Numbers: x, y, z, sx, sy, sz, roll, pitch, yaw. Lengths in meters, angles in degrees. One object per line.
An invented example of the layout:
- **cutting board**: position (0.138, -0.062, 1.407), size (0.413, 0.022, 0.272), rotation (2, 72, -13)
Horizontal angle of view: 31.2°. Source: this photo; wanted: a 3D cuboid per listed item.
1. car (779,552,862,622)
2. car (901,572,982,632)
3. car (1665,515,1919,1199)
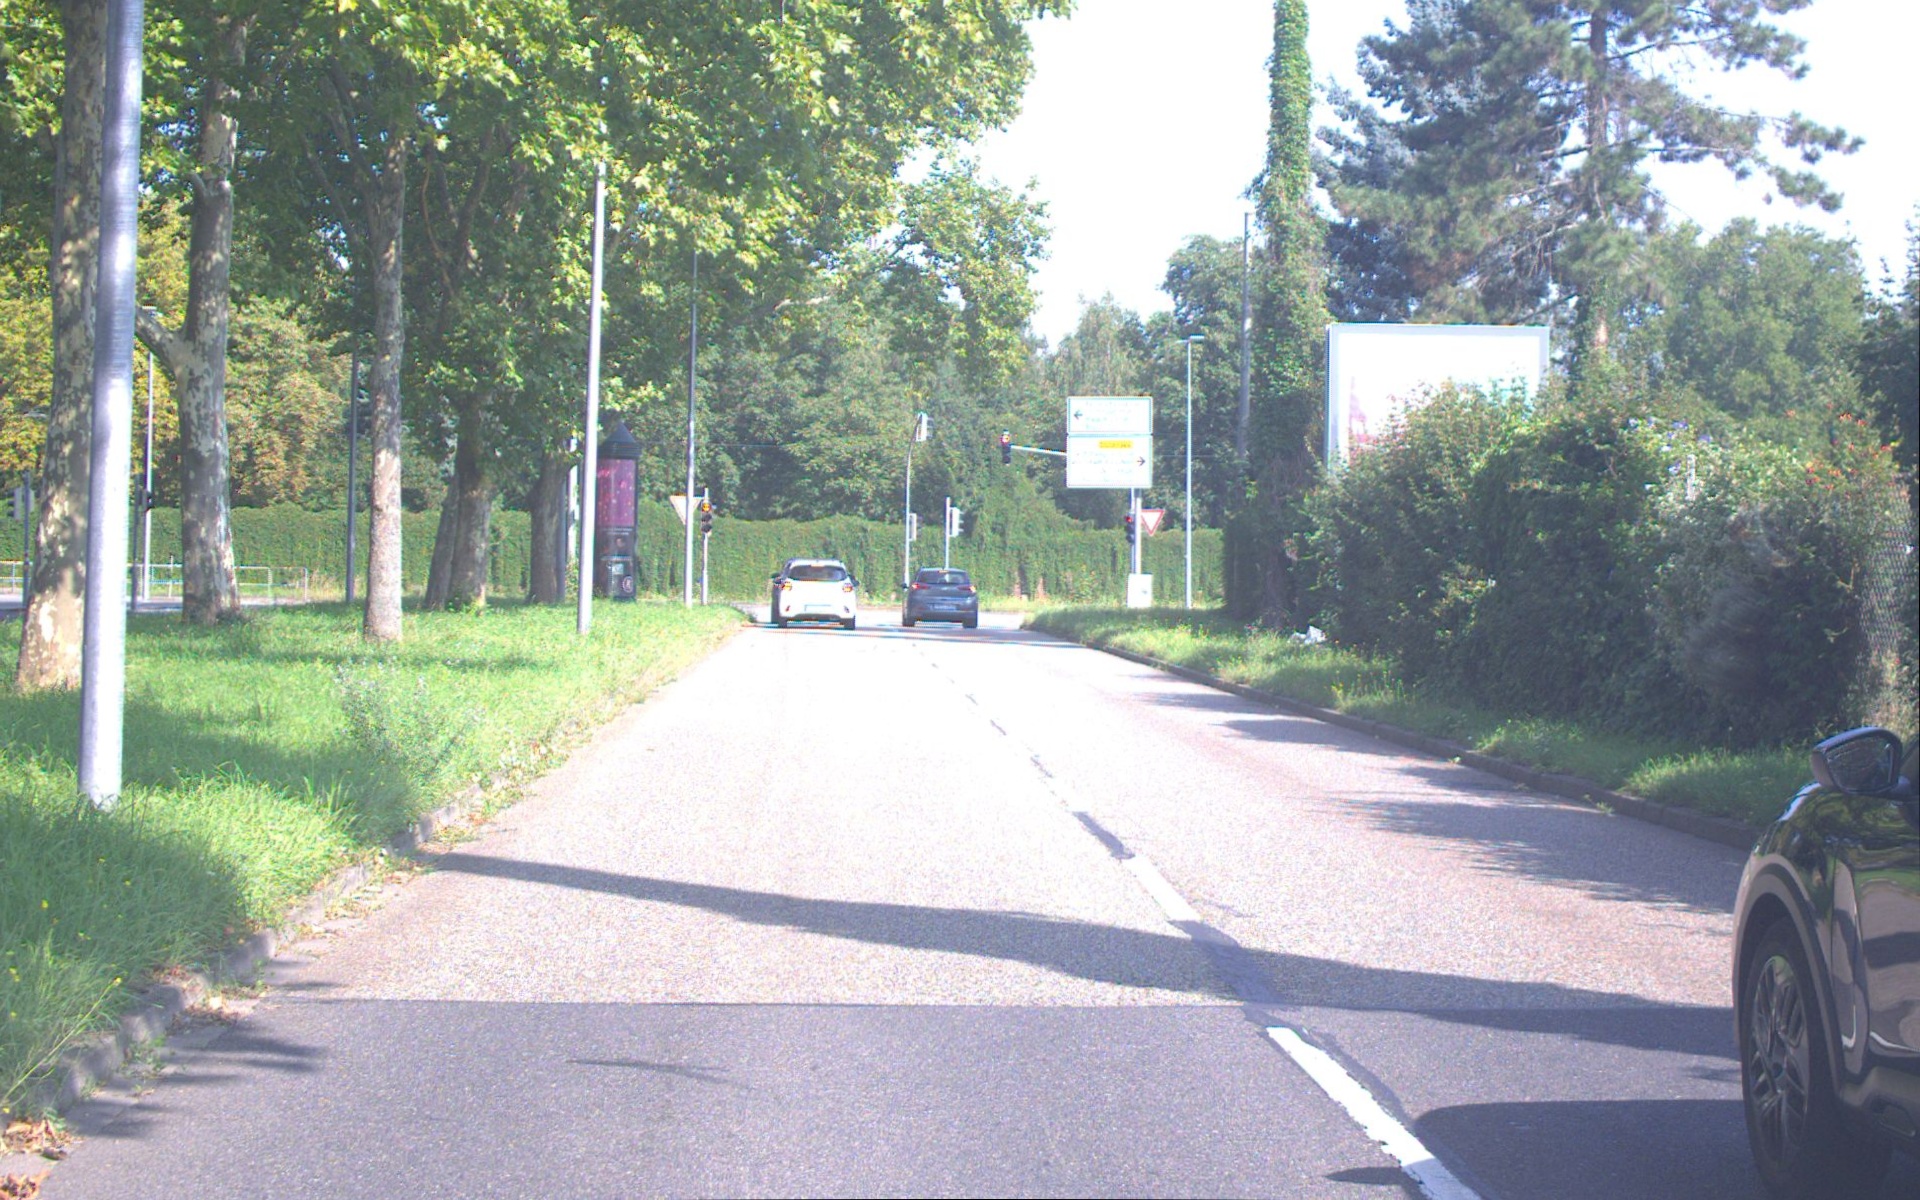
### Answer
- **car**: position (-3.049, -0.289, 75.695), size (1.687, 1.457, 4.000), rotation (2, 0, -1)
- **car**: position (-0.475, 0.035, 84.547), size (1.797, 1.396, 4.000), rotation (2, 0, -2)
- **car**: position (2.731, 0.632, 6.596), size (1.645, 1.583, 4.255), rotation (0, 0, -3)
